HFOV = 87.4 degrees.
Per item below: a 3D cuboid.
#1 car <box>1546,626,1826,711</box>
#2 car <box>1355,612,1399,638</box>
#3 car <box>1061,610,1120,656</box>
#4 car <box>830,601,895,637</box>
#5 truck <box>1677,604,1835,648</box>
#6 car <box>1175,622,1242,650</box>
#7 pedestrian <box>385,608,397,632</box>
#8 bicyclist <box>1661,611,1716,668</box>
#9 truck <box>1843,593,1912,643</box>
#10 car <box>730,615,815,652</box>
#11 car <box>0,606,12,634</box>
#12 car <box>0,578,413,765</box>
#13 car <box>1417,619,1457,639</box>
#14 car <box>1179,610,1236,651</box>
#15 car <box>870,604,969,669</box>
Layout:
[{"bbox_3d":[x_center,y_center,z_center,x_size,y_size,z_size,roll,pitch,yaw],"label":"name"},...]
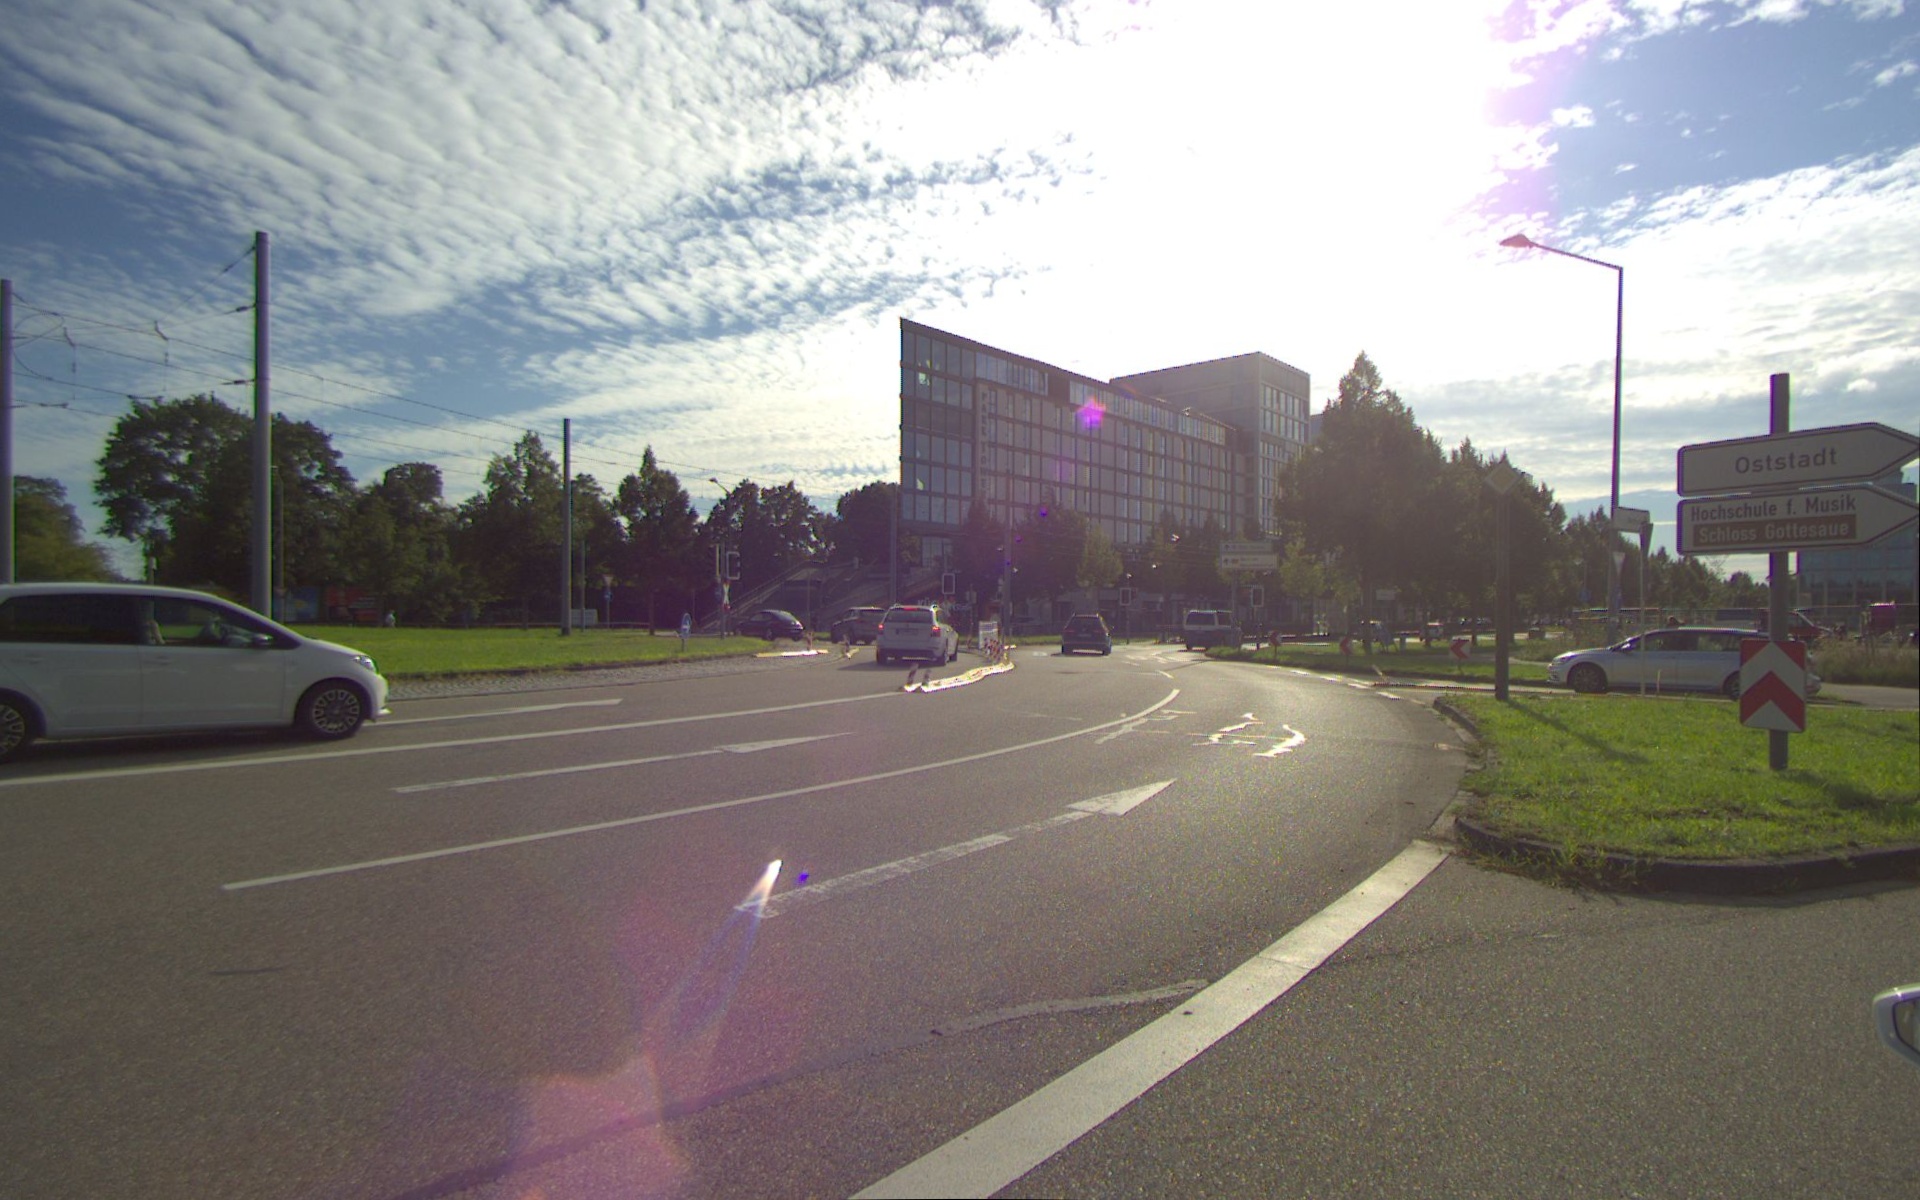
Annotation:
[{"bbox_3d":[14.667,1.306,20.459,4.477,1.471,1.814,0,-1,42],"label":"car"},{"bbox_3d":[32.766,1.930,78.848,1.873,1.928,4.639,0,-1,40],"label":"car"},{"bbox_3d":[4.962,1.262,38.807,1.960,1.587,4.847,2,-1,5],"label":"car"},{"bbox_3d":[-4.201,0.787,42.746,1.810,1.450,3.981,1,-1,-21],"label":"car"},{"bbox_3d":[50.401,1.593,63.770,7.745,2.601,3.059,0,-1,41],"label":"truck"},{"bbox_3d":[14.559,2.097,58.773,1.874,1.450,4.636,1,1,41],"label":"car"},{"bbox_3d":[-39.655,1.401,70.007,0.497,1.646,0.546,0,-1,33],"label":"pedestrian"},{"bbox_3d":[19.908,1.067,27.466,0.692,1.531,1.009,0,-1,-7],"label":"bicyclist"},{"bbox_3d":[63.033,1.209,69.133,2.772,3.250,7.288,0,-1,37],"label":"truck"},{"bbox_3d":[-9.227,1.590,49.289,3.936,1.562,1.992,2,2,37],"label":"car"},{"bbox_3d":[-56.536,1.129,58.423,1.880,1.597,4.369,1,-1,-42],"label":"car"},{"bbox_3d":[-7.391,0.571,9.426,3.635,1.484,1.744,1,0,-44],"label":"car"},{"bbox_3d":[39.517,2.379,83.238,1.874,1.632,4.638,0,-1,40],"label":"car"},{"bbox_3d":[12.756,1.518,51.586,1.867,1.928,4.655,1,1,26],"label":"car"},{"bbox_3d":[-0.950,0.885,26.050,1.819,1.464,4.641,2,-1,7],"label":"car"}]
